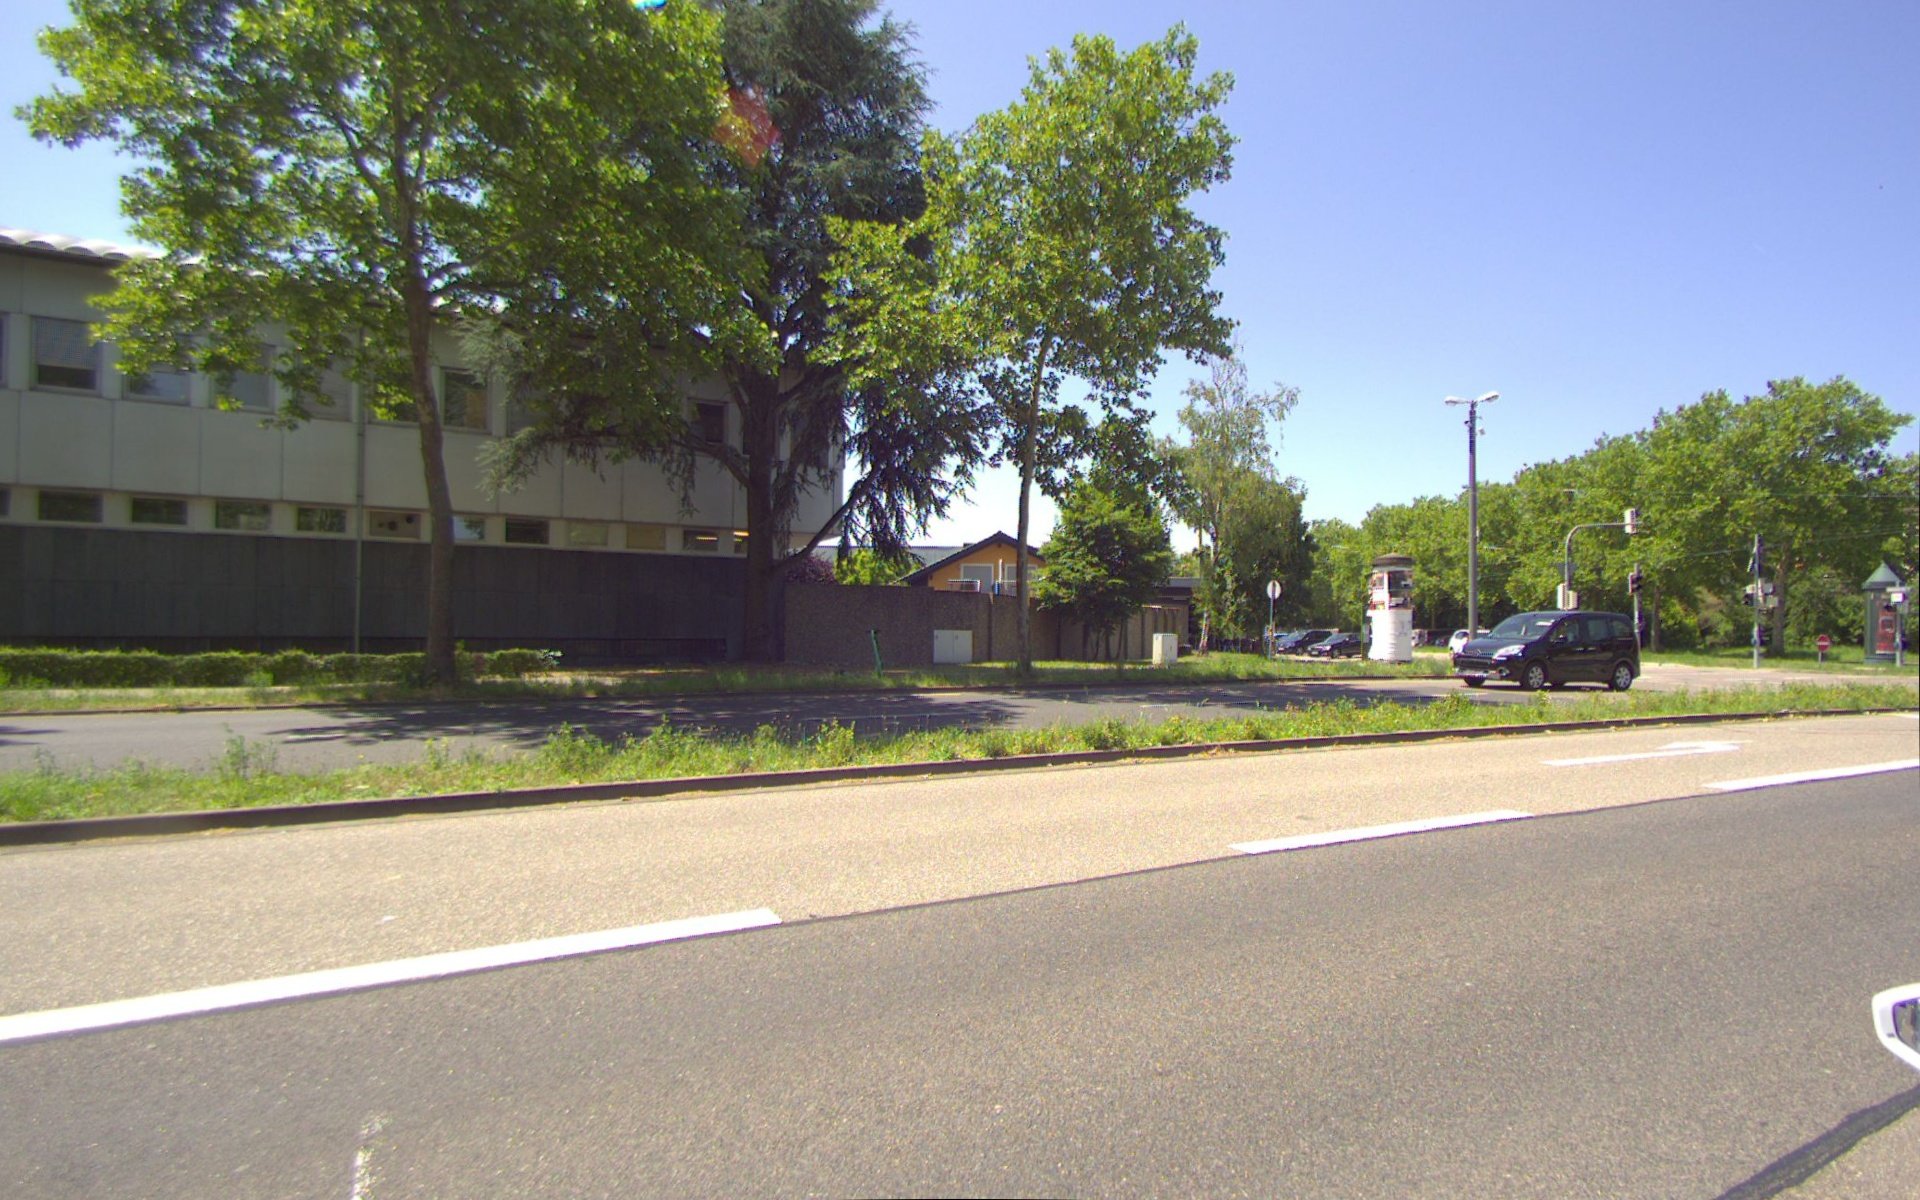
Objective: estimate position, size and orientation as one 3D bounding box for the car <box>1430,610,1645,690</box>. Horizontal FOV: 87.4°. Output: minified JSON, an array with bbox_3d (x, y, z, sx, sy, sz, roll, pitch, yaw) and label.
[{"bbox_3d":[13.223,1.126,23.018,4.375,1.701,1.909,1,-1,-19],"label":"car"}]

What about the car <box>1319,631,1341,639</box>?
[{"bbox_3d":[49.813,4.722,135.309,2.667,1.007,1.009,1,-1,-1],"label":"car"}]

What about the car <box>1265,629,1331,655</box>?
[{"bbox_3d":[22.465,2.770,66.664,4.138,1.672,1.773,1,-2,-26],"label":"car"}]

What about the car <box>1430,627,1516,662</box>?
[{"bbox_3d":[25.643,2.196,50.424,2.172,1.626,4.463,0,-1,2],"label":"car"}]

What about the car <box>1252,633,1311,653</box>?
[{"bbox_3d":[24.365,3.245,76.153,4.004,1.442,1.936,1,-2,-24],"label":"car"}]

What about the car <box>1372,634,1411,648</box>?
[{"bbox_3d":[45.957,4.386,106.940,3.481,1.415,1.500,1,-1,-2],"label":"car"}]
